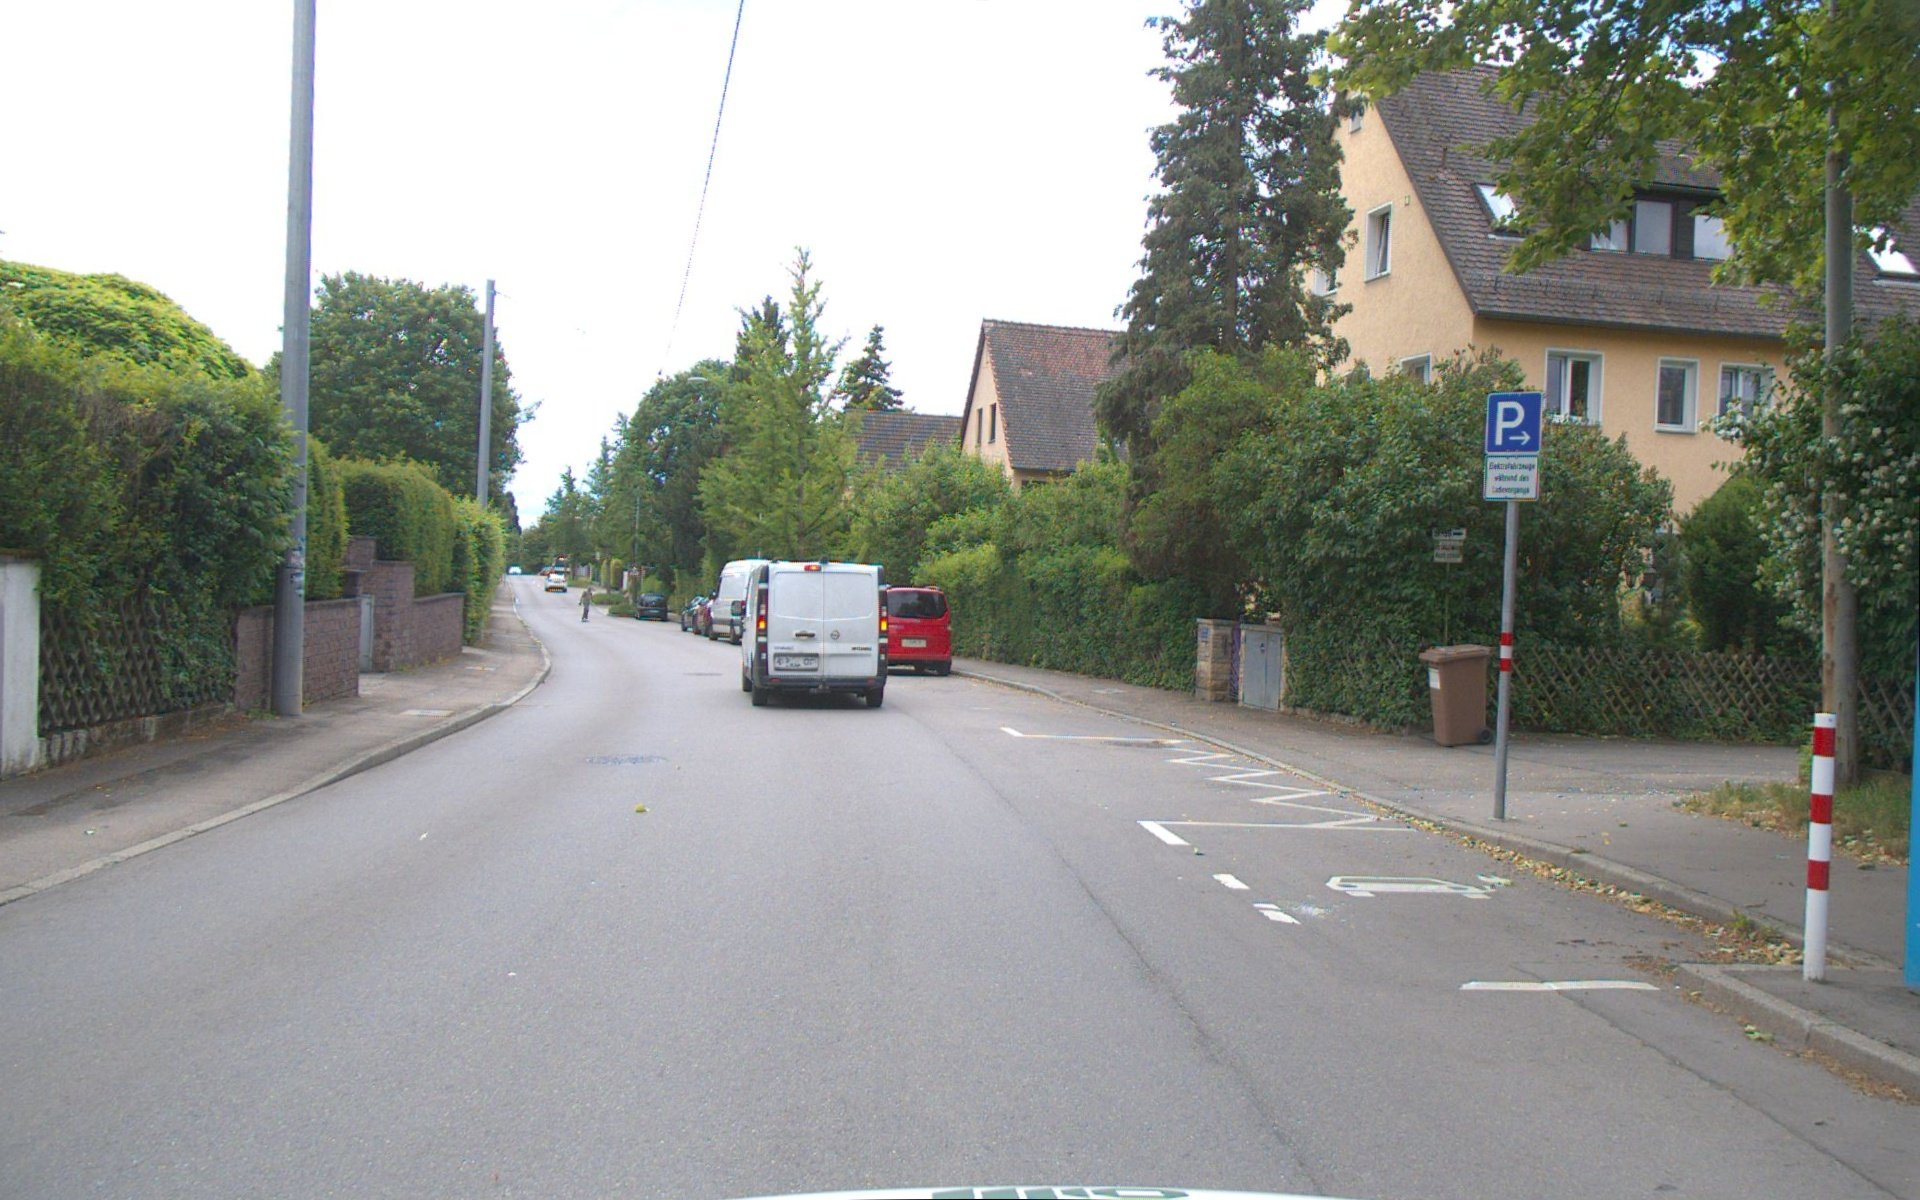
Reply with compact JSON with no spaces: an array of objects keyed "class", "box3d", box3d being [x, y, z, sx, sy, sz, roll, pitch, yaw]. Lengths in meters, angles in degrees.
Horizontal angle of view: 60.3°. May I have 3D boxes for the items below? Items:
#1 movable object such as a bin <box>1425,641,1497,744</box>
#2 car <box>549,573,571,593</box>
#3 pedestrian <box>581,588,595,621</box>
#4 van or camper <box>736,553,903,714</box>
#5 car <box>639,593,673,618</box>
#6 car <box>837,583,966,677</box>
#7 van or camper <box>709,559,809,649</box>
[{"class":"movable object such as a bin","box3d":[5.548,1.019,18.339,0.591,1.088,0.568,2,0,-1]},{"class":"car","box3d":[-37.451,-1.608,154.752,1.748,1.679,3.627,0,2,-17]},{"class":"pedestrian","box3d":[-17.996,0.218,80.005,0.543,1.586,0.553,1,2,3]},{"class":"van or camper","box3d":[-2.178,0.393,24.316,1.890,2.048,4.817,1,2,-11]},{"class":"car","box3d":[-16.993,0.275,92.476,1.506,1.327,3.212,1,0,-17]},{"class":"car","box3d":[-1.336,0.580,35.140,1.731,1.828,4.930,1,0,-14]},{"class":"van or camper","box3d":[-6.570,0.105,53.420,2.034,2.721,6.297,1,0,-18]}]
